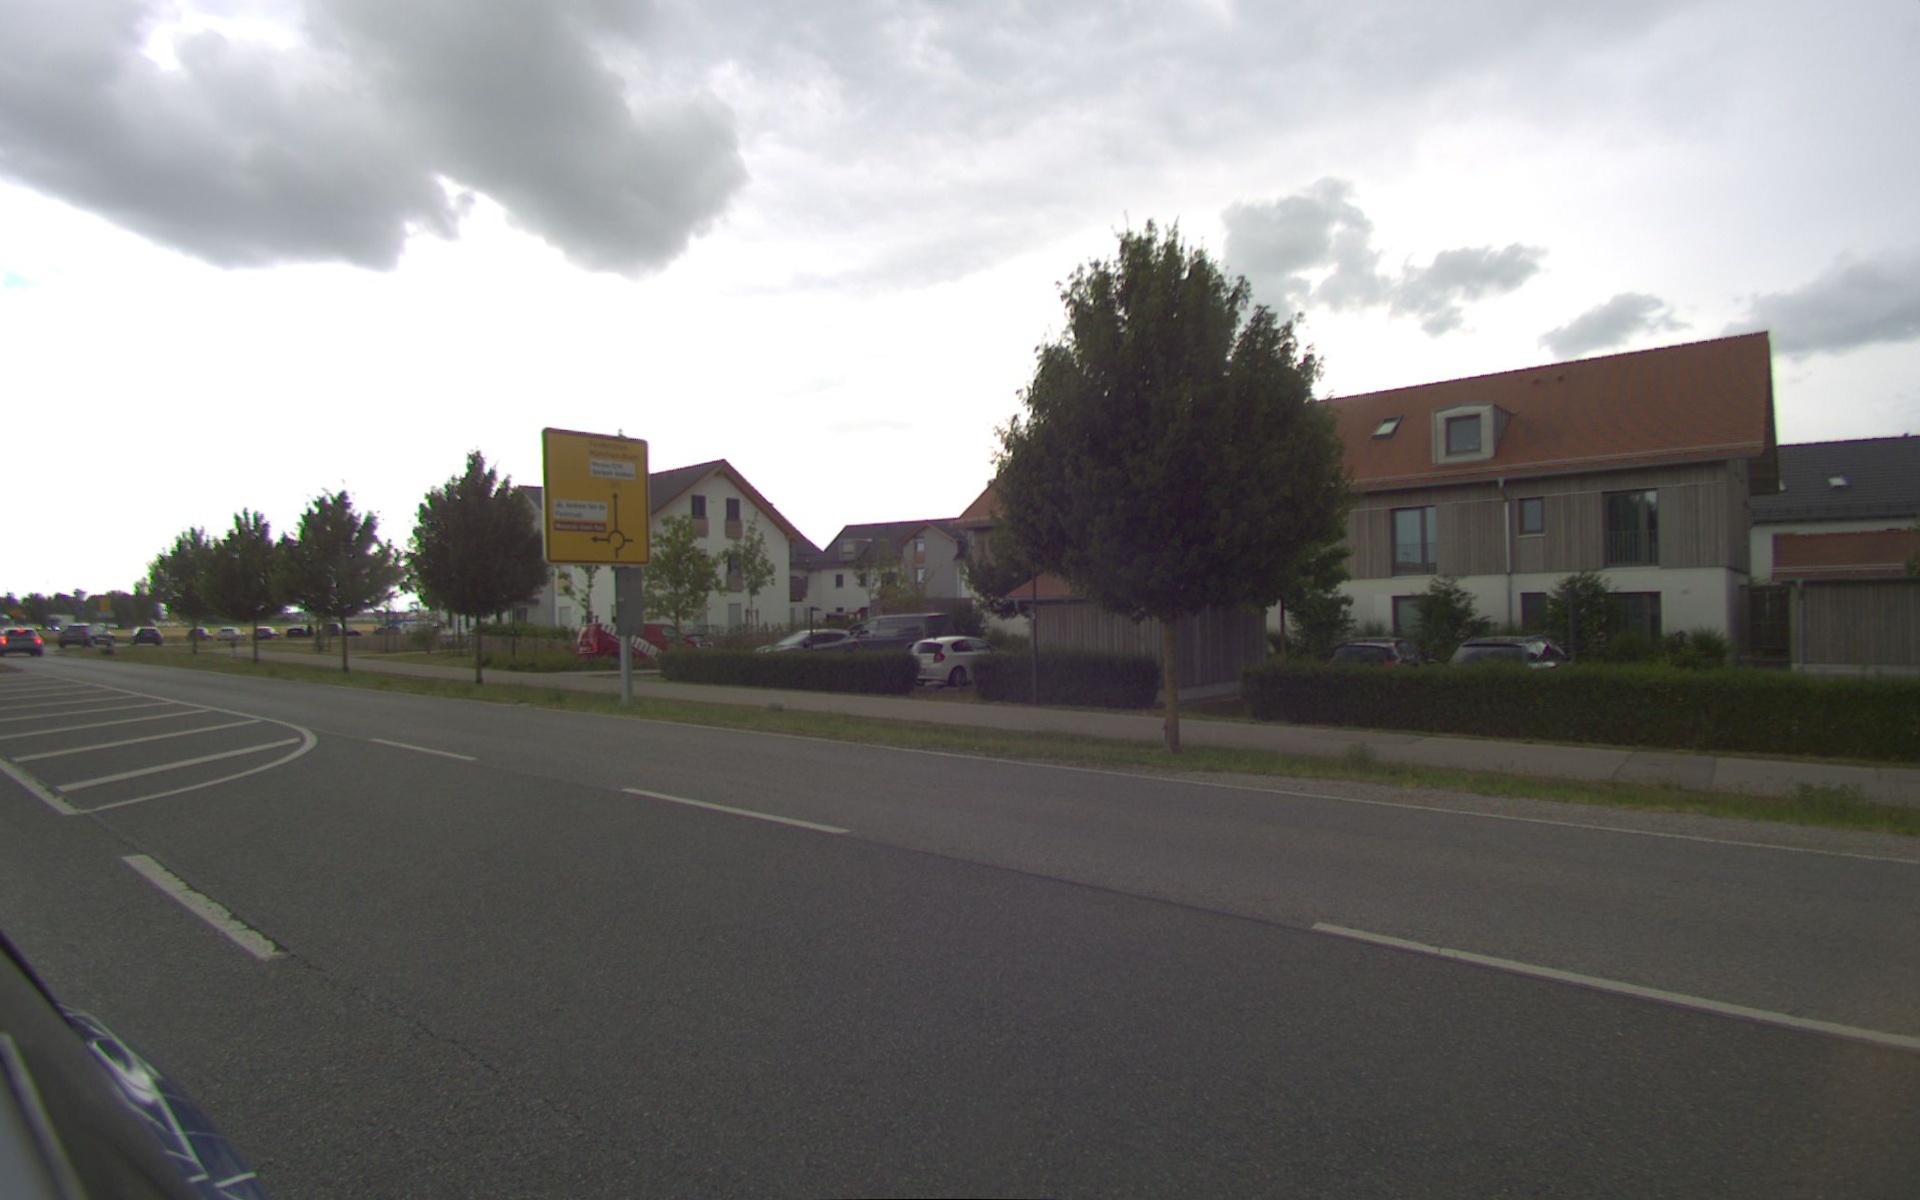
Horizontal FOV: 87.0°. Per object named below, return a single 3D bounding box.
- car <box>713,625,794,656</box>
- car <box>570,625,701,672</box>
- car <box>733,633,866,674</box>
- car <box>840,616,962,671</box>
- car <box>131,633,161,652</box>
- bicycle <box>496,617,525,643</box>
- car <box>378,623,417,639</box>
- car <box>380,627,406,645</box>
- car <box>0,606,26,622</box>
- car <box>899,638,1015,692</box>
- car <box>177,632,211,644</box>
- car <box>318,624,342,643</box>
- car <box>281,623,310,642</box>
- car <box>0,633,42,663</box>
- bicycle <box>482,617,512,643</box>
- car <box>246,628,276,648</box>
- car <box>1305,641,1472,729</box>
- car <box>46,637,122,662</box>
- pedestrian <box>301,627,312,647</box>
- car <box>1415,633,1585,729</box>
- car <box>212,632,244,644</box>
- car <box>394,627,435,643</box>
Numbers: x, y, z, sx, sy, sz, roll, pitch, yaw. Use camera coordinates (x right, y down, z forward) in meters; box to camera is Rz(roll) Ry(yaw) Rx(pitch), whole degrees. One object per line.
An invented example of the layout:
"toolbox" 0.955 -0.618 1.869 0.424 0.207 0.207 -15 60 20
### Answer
"car" -10.430 2.039 50.985 3.997 1.519 1.973 -2 -3 41
"car" -13.436 2.005 42.088 4.848 1.830 1.907 2 -3 -44
"car" -5.931 1.983 37.969 1.905 1.441 4.853 -2 -3 41
"car" -2.507 1.798 41.998 5.201 2.028 1.972 -2 1 44
"car" -63.010 3.262 78.379 1.747 1.455 4.007 2 -3 -39
"bicycle" -25.273 1.683 56.896 2.093 1.439 0.675 -2 -3 41
"car" -72.076 3.946 129.650 1.991 2.029 3.962 -1 -3 28
"car" -64.294 4.058 114.826 1.965 2.029 4.013 1 -3 -22
"car" -92.399 1.411 98.511 3.997 1.455 1.752 -2 -3 41
"car" -0.045 1.881 29.889 1.562 1.501 3.478 -2 -3 40
"car" -79.777 3.958 105.467 1.965 1.298 4.013 1 -3 -25
"car" -68.467 3.697 109.939 1.966 2.029 4.010 2 -3 -34
"car" -71.401 3.517 108.842 1.965 2.029 4.013 1 -3 -25
"car" -48.578 2.440 51.866 3.997 1.455 1.752 -2 -3 41
"bicycle" -25.771 1.696 56.315 2.093 1.428 0.675 -2 -3 41
"car" -74.536 4.055 107.918 1.965 2.029 4.013 1 -3 -25
"car" 8.926 1.658 20.914 1.999 1.630 3.944 -2 -3 42
"car" -58.312 3.297 67.486 1.802 1.594 4.223 1 -3 -9
"pedestrian" -49.735 2.812 76.985 0.586 1.541 0.540 -2 0 41
"car" 10.450 1.466 19.460 1.999 1.630 3.944 -2 -3 42
"car" -76.968 3.999 106.508 1.965 1.298 4.013 1 -3 -25
"car" -66.921 4.299 124.121 1.993 2.029 3.956 -1 -3 32
